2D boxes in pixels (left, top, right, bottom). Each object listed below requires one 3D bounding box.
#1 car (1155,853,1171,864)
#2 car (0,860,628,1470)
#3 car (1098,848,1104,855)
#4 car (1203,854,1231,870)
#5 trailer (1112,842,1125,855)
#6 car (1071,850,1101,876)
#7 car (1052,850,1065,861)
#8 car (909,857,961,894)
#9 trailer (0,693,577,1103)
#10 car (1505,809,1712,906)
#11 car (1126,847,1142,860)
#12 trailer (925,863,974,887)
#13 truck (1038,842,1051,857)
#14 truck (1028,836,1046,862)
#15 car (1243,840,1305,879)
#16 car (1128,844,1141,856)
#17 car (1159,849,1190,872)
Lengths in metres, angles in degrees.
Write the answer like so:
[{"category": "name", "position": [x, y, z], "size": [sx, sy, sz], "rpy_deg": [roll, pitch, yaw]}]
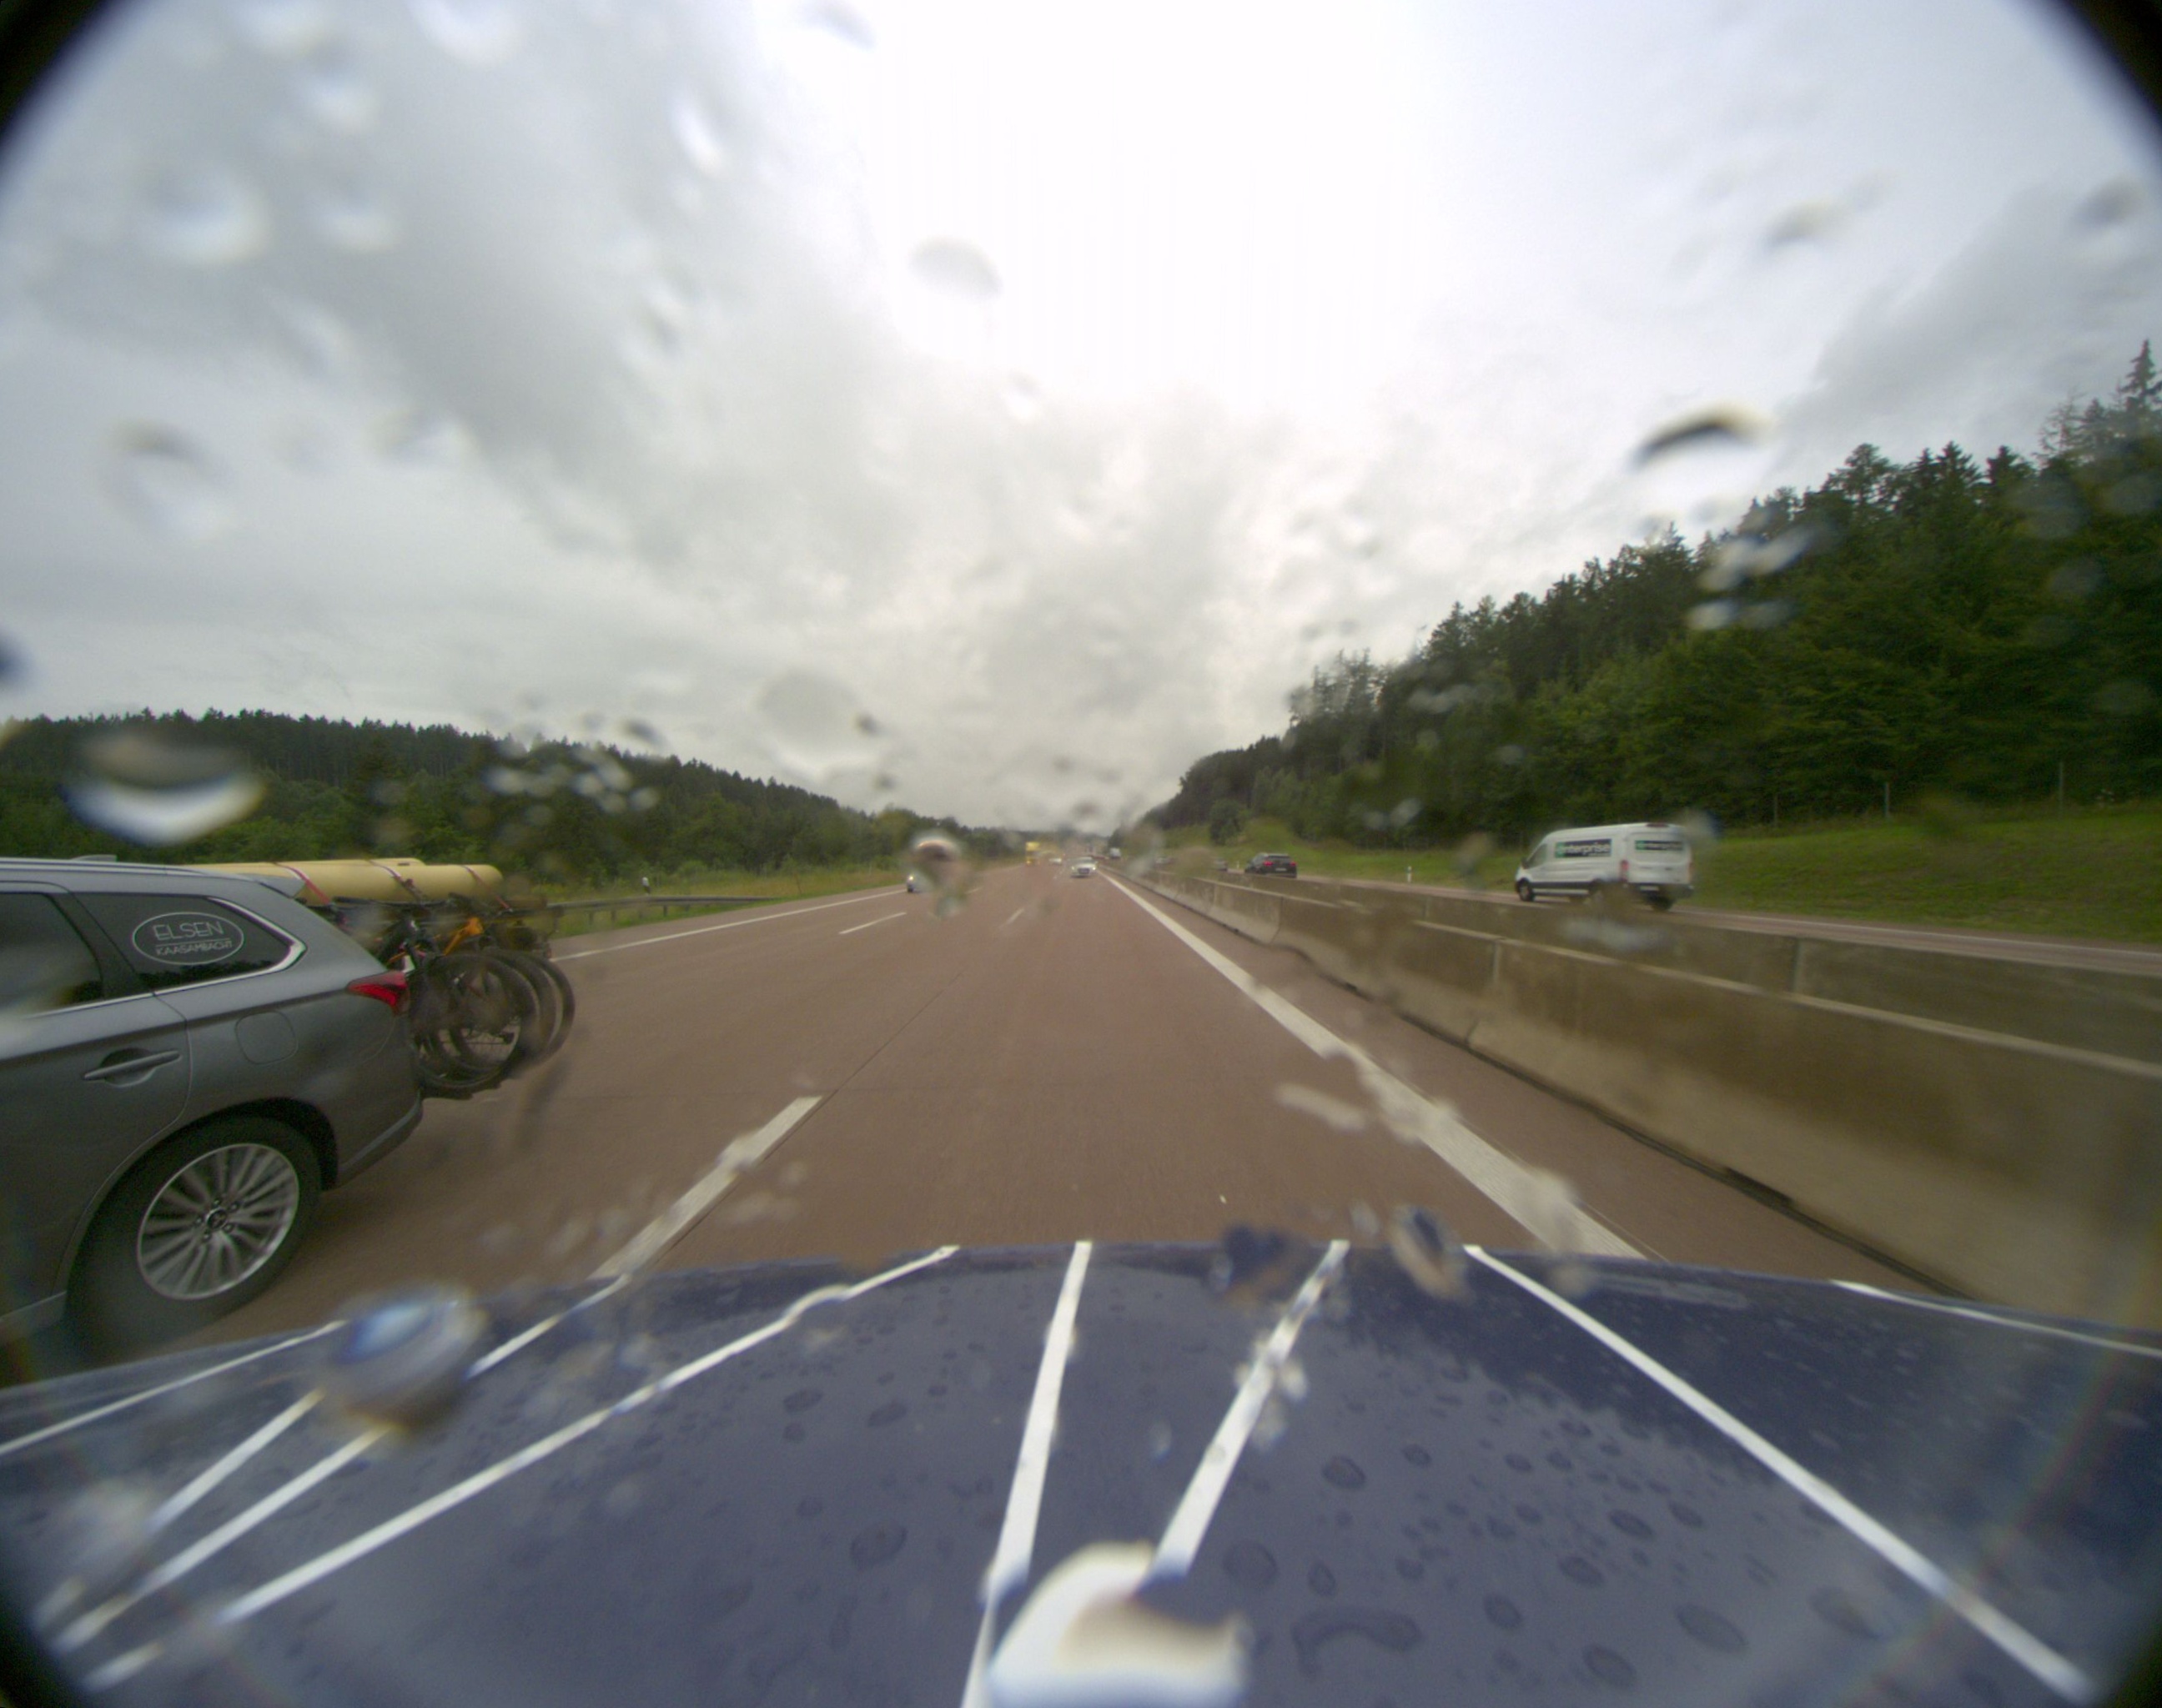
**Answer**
[{"category": "car", "position": [12.306, 0.605, 114.140], "size": [1.793, 1.548, 4.864], "rpy_deg": [1, 1, -1]}, {"category": "car", "position": [-4.006, 0.949, 1.993], "size": [1.998, 1.584, 5.818], "rpy_deg": [-2, 2, 1]}, {"category": "car", "position": [6.322, -0.732, 237.809], "size": [1.781, 1.846, 5.320], "rpy_deg": [-2, 2, 0]}, {"category": "car", "position": [12.583, 0.740, 70.431], "size": [1.654, 1.381, 4.810], "rpy_deg": [2, 0, -1]}, {"category": "trailer", "position": [12.774, -1.826, 259.263], "size": [2.941, 4.250, 12.943], "rpy_deg": [2, 0, -2]}, {"category": "car", "position": [0.347, 0.615, 54.592], "size": [1.998, 1.623, 4.929], "rpy_deg": [-2, 2, 0]}, {"category": "car", "position": [-3.757, 0.293, 126.546], "size": [1.998, 1.623, 4.929], "rpy_deg": [-2, 2, 0]}, {"category": "car", "position": [-7.376, 1.015, 38.836], "size": [1.702, 1.602, 4.975], "rpy_deg": [-1, 1, -1]}, {"category": "trailer", "position": [-8.479, 0.339, 4.787], "size": [2.888, 2.660, 11.394], "rpy_deg": [-2, 2, 0]}, {"category": "car", "position": [16.188, 0.020, 23.928], "size": [2.229, 2.570, 6.253], "rpy_deg": [-2, 2, 1]}, {"category": "car", "position": [8.132, -0.111, 116.813], "size": [1.862, 1.697, 6.161], "rpy_deg": [-2, 2, -1]}, {"category": "trailer", "position": [-7.474, 1.143, 43.550], "size": [1.976, 1.159, 4.638], "rpy_deg": [-2, 0, 0]}, {"category": "truck", "position": [-11.284, -1.461, 235.833], "size": [3.190, 4.349, 14.699], "rpy_deg": [-2, 2, 0]}, {"category": "truck", "position": [-7.561, -0.920, 132.051], "size": [2.610, 4.190, 6.248], "rpy_deg": [-2, 2, 0]}, {"category": "car", "position": [9.726, 0.253, 38.642], "size": [1.998, 1.816, 4.686], "rpy_deg": [-1, 0, 1]}, {"category": "car", "position": [11.071, -0.766, 157.520], "size": [2.108, 2.266, 5.393], "rpy_deg": [-2, 2, -1]}, {"category": "car", "position": [8.297, 0.549, 67.873], "size": [1.999, 2.002, 5.525], "rpy_deg": [-1, 0, -1]}]
